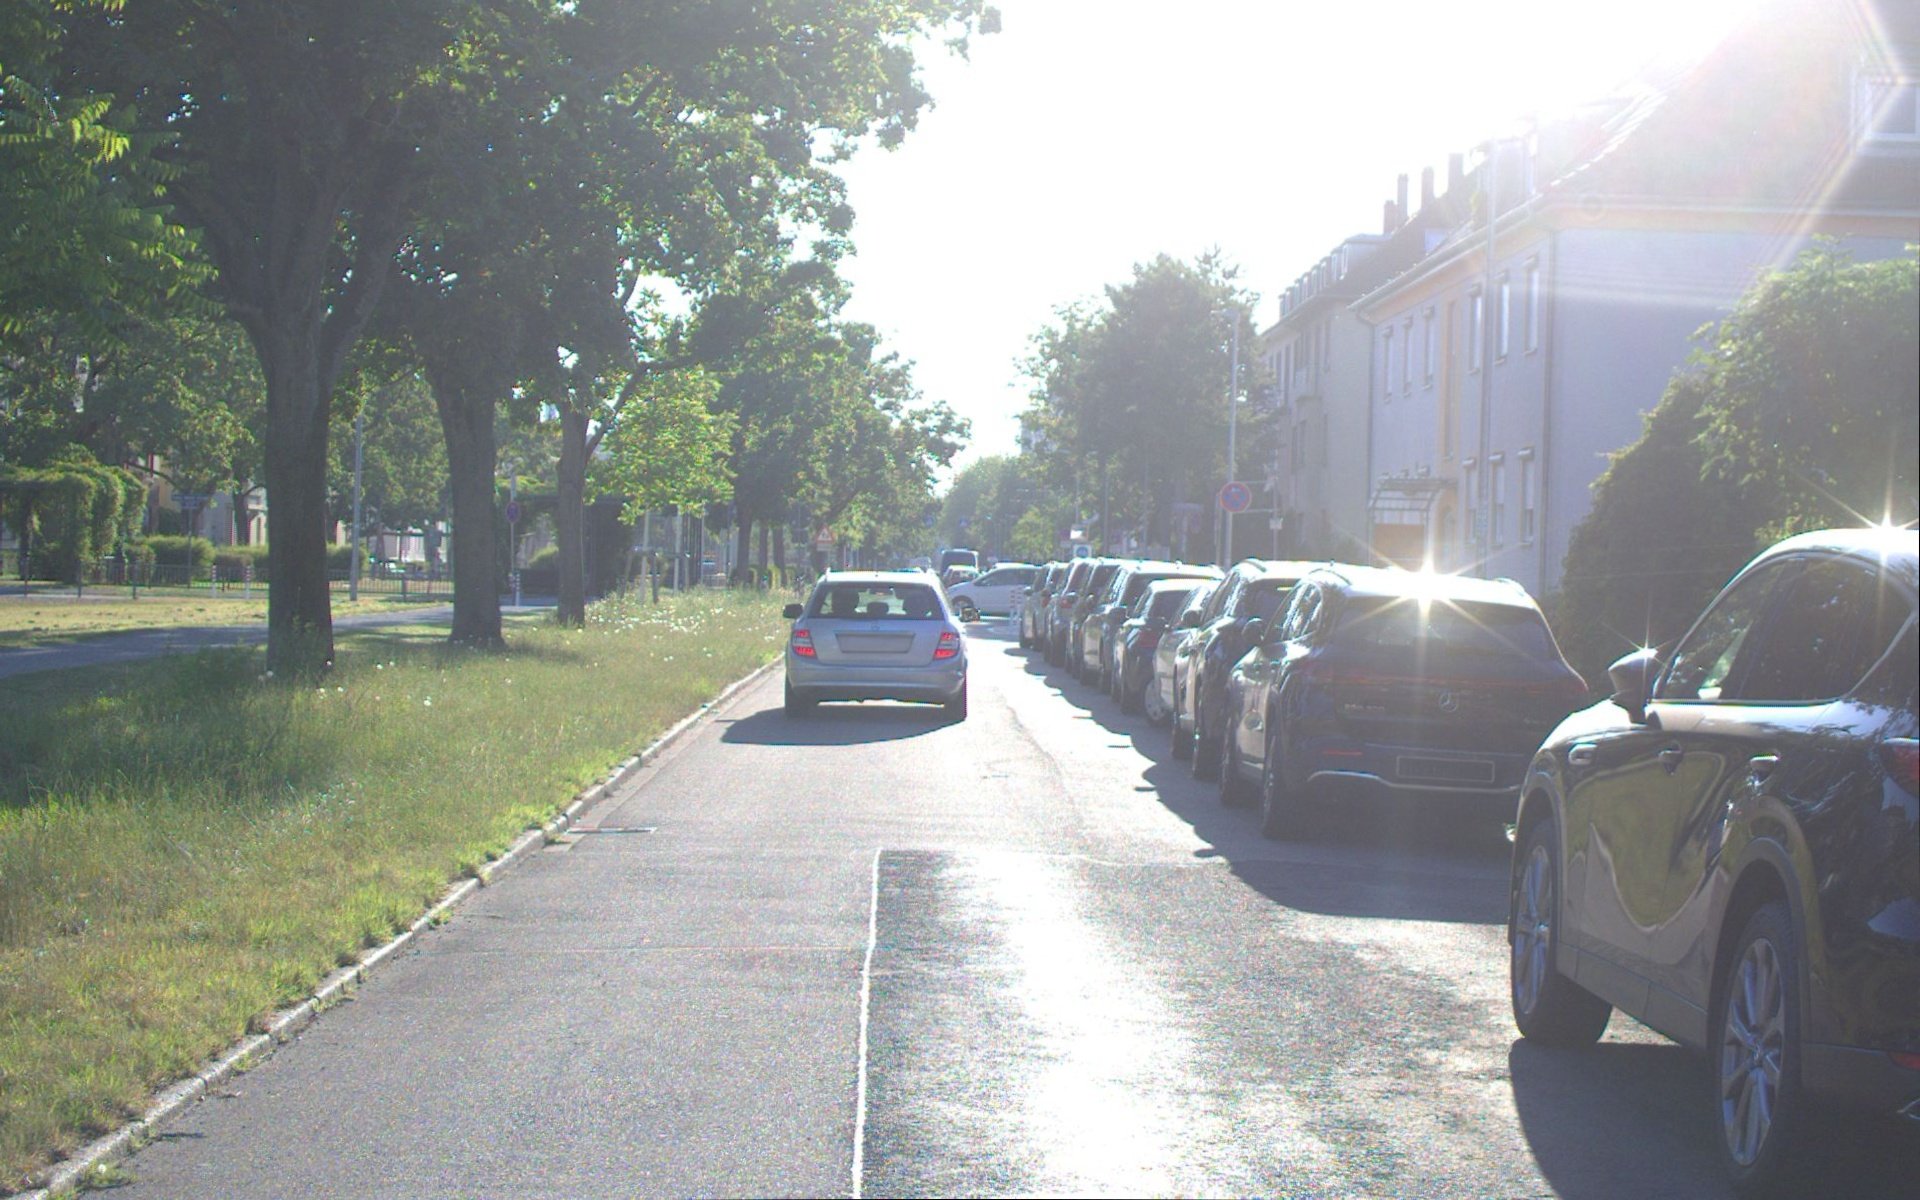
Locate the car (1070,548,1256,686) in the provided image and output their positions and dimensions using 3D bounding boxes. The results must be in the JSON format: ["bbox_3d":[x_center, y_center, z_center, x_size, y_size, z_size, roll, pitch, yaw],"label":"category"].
[{"bbox_3d":[2.445,0.173,42.430,1.724,1.556,4.417,2,1,-3],"label":"car"}]

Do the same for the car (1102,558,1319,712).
[{"bbox_3d":[2.640,0.327,37.255,1.993,1.457,4.561,3,1,1],"label":"car"}]

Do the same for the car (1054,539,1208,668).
[{"bbox_3d":[2.346,0.048,48.238,1.766,1.629,4.765,3,0,-1],"label":"car"}]

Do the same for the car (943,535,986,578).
[{"bbox_3d":[0.225,-2.097,165.972,1.988,2.016,4.000,2,0,0],"label":"car"}]

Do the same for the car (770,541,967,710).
[{"bbox_3d":[-0.858,0.208,34.128,1.823,1.561,4.000,0,1,0],"label":"car"}]

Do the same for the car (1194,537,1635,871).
[{"bbox_3d":[2.675,0.541,21.340,1.933,1.714,4.621,4,1,-1],"label":"car"}]

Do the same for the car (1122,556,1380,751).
[{"bbox_3d":[2.658,0.466,32.309,1.728,1.543,4.208,6,0,-3],"label":"car"}]

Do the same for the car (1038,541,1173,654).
[{"bbox_3d":[2.222,-0.048,53.527,1.777,1.637,4.757,1,0,-1],"label":"car"}]

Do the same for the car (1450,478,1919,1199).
[{"bbox_3d":[2.760,0.663,9.733,1.832,1.726,5.032,4,0,-1],"label":"car"}]

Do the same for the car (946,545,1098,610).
[{"bbox_3d":[1.680,-0.599,92.259,3.894,1.591,2.000,-2,0,5],"label":"car"}]

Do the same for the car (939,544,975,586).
[{"bbox_3d":[-0.174,-1.882,184.029,1.861,2.185,5.070,2,0,0],"label":"car"}]

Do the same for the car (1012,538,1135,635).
[{"bbox_3d":[2.064,-0.269,63.866,1.716,1.633,4.565,3,0,-4],"label":"car"}]

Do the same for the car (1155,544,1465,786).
[{"bbox_3d":[2.645,0.428,27.043,1.854,1.651,4.820,3,1,0],"label":"car"}]
